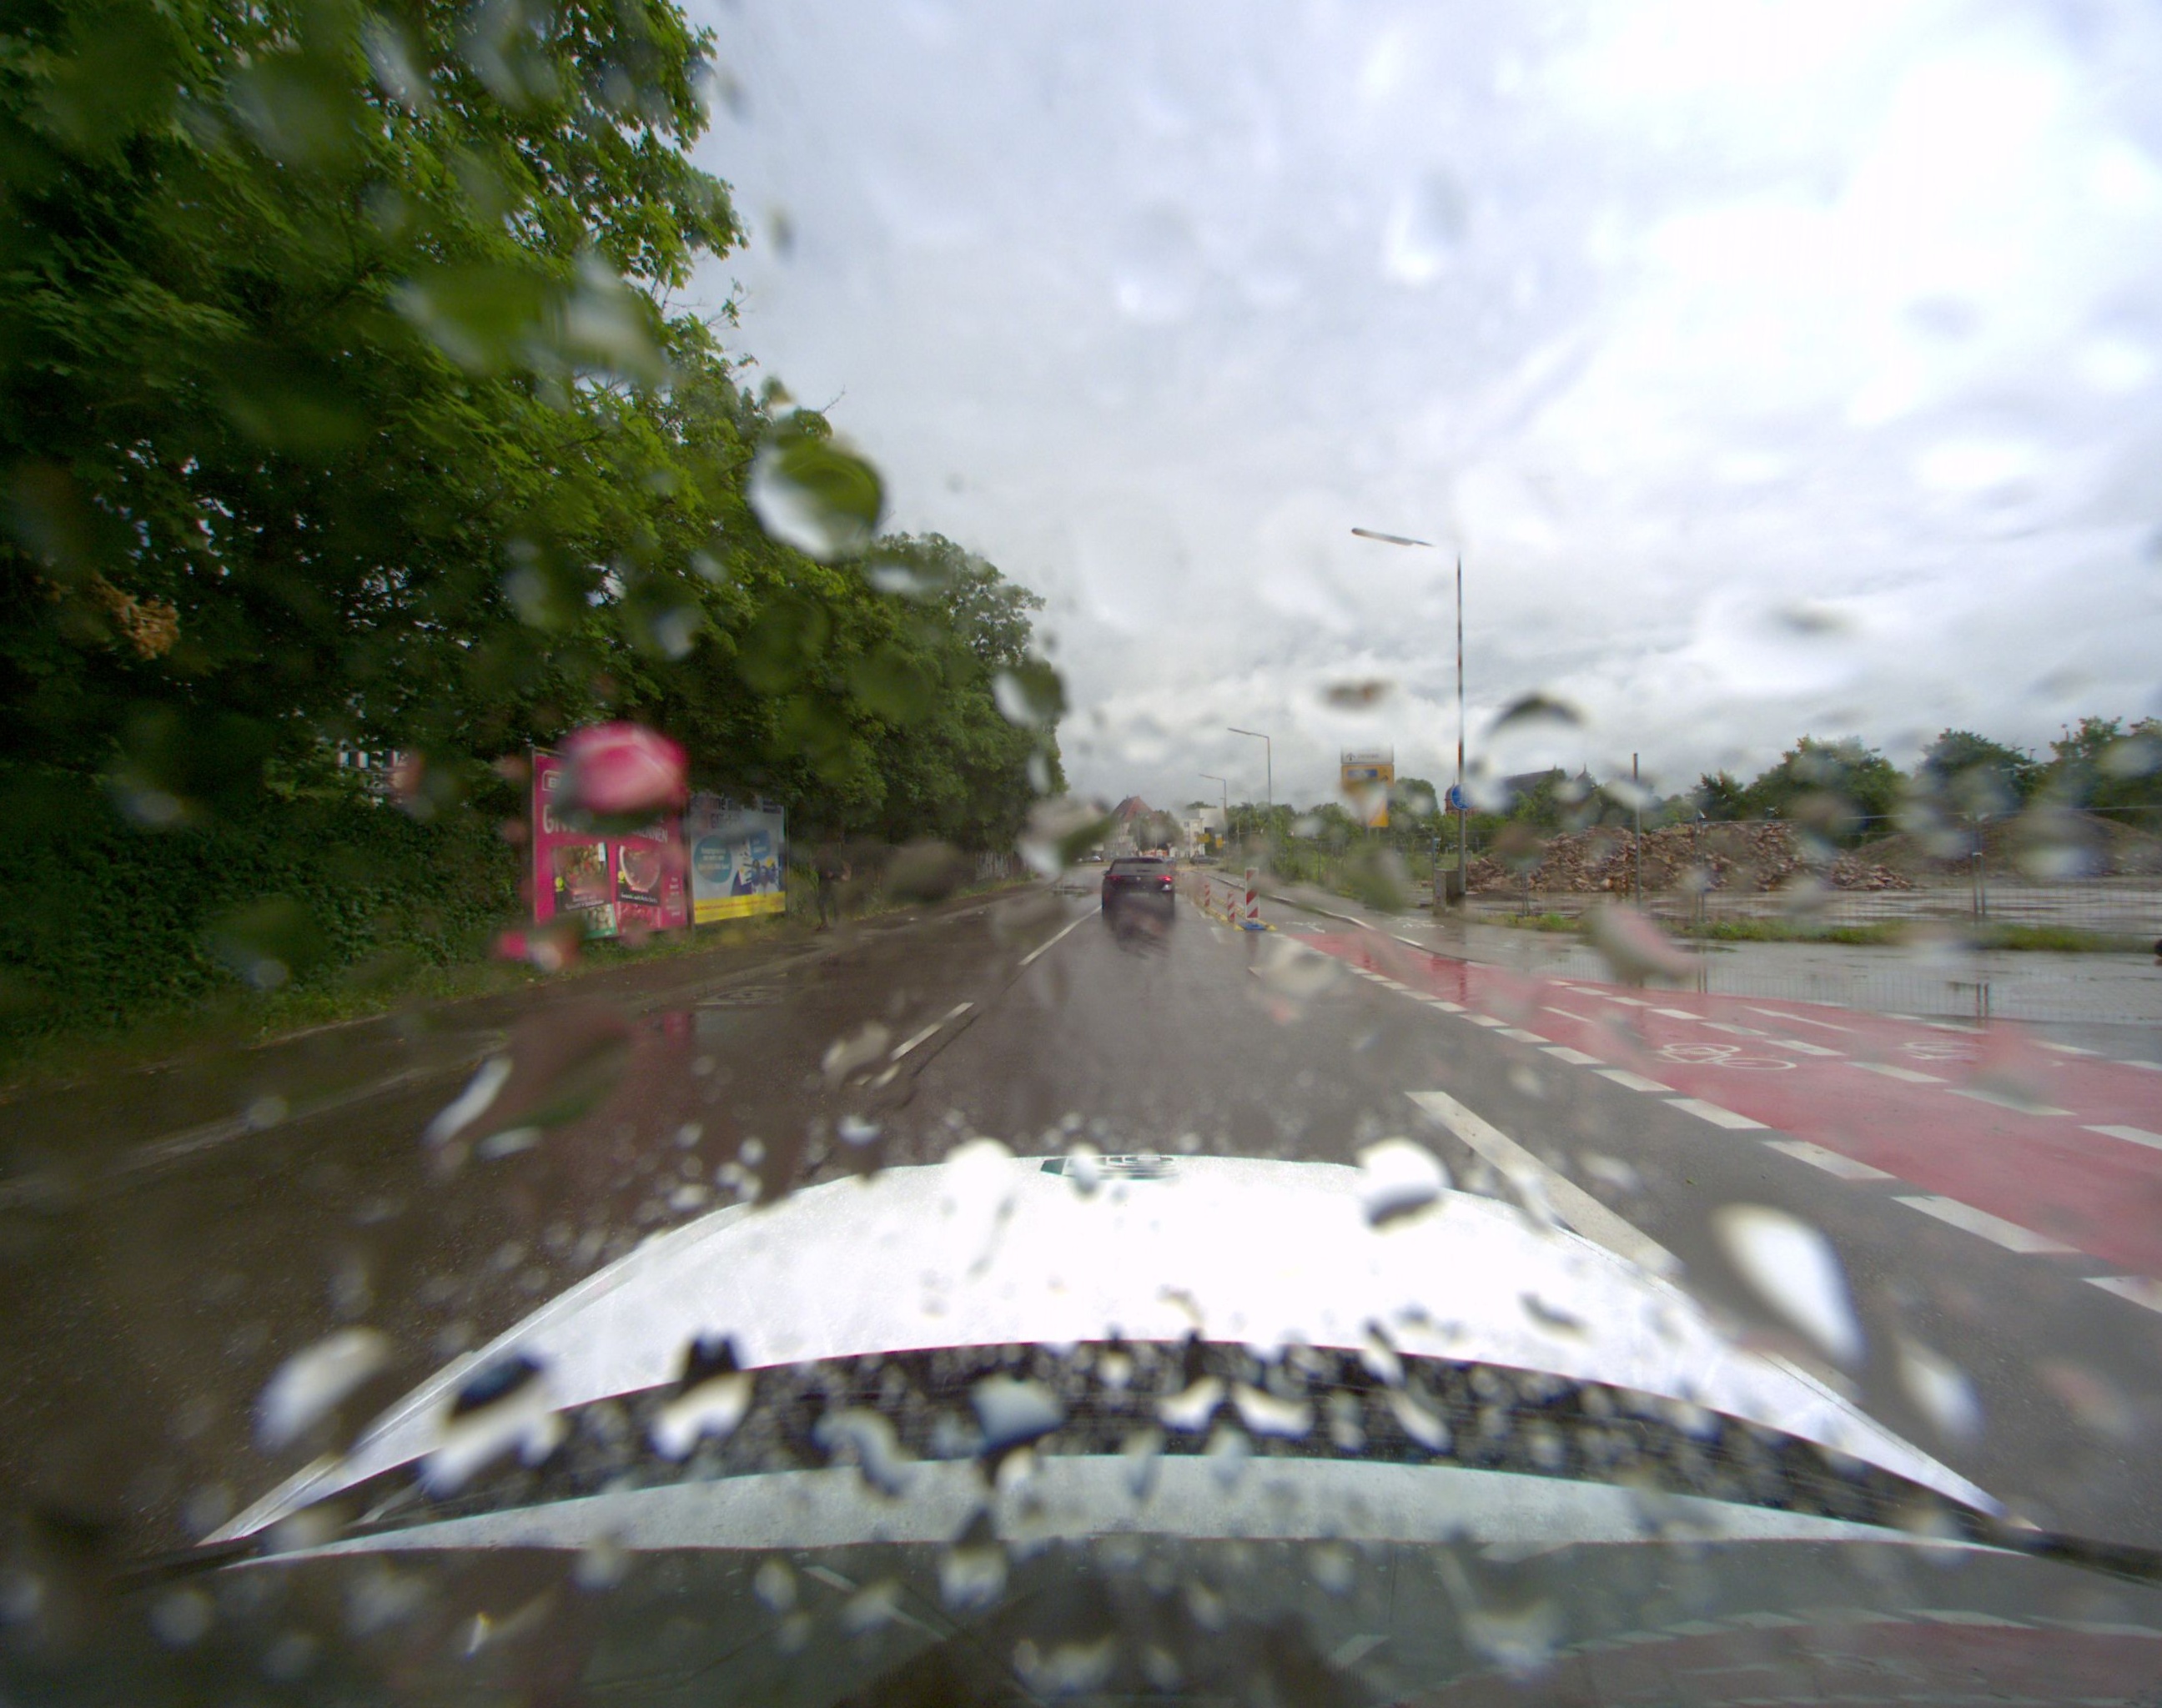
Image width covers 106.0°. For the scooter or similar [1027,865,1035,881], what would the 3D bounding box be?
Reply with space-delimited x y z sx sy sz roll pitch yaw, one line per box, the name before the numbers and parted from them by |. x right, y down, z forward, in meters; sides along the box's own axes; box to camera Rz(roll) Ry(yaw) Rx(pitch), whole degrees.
scooter or similar | -3.657 1.357 59.272 0.560 1.162 1.207 -1 -1 -3

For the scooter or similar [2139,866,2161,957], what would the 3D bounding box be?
scooter or similar | 14.322 0.725 10.211 1.179 1.150 0.486 -2 -1 38

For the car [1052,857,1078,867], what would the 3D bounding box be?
car | -3.194 1.582 164.789 5.155 1.876 1.873 -1 0 -36

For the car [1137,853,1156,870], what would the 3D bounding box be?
car | 7.172 0.838 89.095 1.857 1.809 4.406 -1 0 2

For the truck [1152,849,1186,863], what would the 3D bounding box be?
truck | 18.499 0.399 170.514 7.030 2.650 2.334 -1 0 6

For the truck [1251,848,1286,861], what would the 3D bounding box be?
truck | 38.720 0.098 168.019 6.638 2.442 2.449 -2 -1 41

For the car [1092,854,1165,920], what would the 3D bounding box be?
car | 1.192 0.801 21.126 1.702 1.574 3.684 0 -1 2

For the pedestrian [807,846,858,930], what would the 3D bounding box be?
pedestrian | -5.386 0.739 17.707 0.835 1.769 0.645 -2 -1 4

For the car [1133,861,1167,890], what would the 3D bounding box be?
car | 3.795 1.148 45.385 1.728 1.514 3.606 -1 0 3
